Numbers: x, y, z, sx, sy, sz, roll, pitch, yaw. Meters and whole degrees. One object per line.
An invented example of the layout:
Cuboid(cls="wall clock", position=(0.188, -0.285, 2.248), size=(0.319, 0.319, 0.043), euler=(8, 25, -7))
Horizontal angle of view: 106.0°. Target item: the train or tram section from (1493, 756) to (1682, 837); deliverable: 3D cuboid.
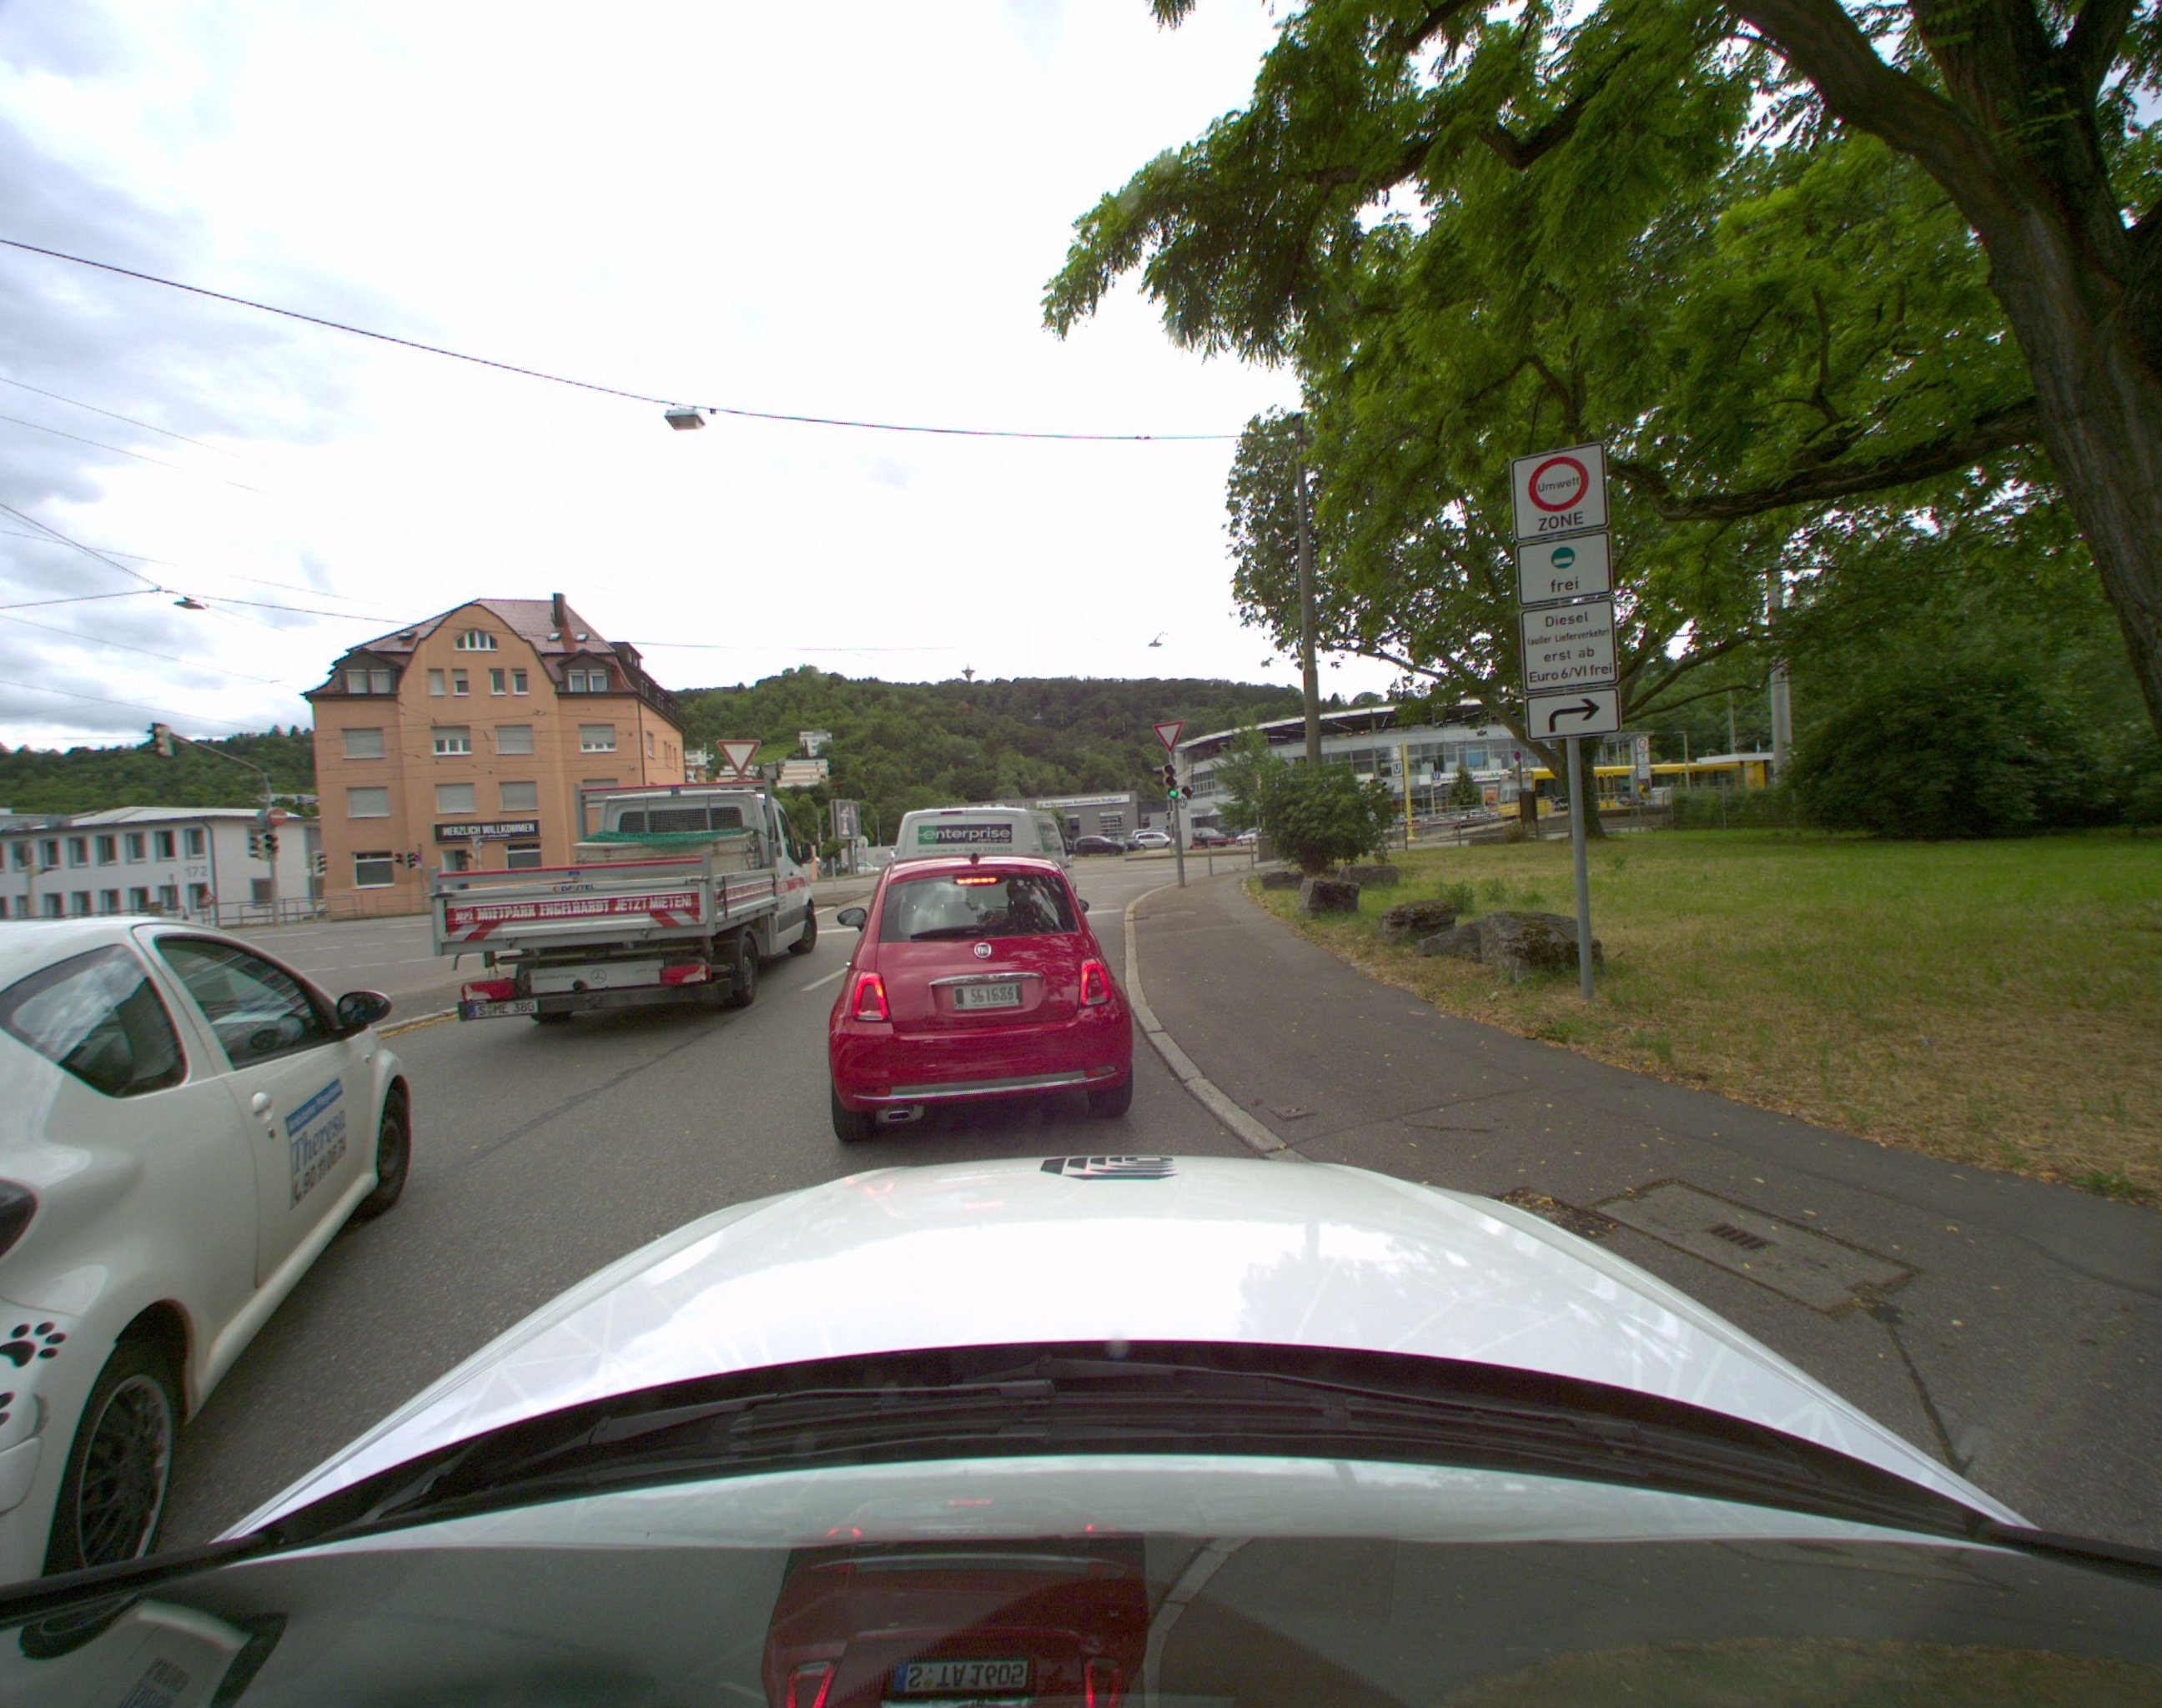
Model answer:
Cuboid(cls="train or tram section", position=(29.943, -3.420, 47.936), size=(11.921, 3.966, 2.730), euler=(-5, 1, -22))

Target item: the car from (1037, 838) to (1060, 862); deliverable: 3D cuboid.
Cuboid(cls="car", position=(-3.094, -0.342, 79.444), size=(1.988, 2.013, 5.014), euler=(-4, -1, -1))

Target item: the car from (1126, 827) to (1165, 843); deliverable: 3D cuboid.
Cuboid(cls="car", position=(7.602, -2.250, 96.389), size=(4.480, 1.729, 2.000), euler=(0, -1, 1))

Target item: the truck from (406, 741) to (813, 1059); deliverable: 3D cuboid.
Cuboid(cls="truck", position=(-4.668, 0.271, 9.372), size=(2.316, 2.421, 5.630), euler=(-4, 2, -13))

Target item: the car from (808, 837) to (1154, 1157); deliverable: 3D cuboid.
Cuboid(cls="car", position=(-0.787, 0.651, 5.998), size=(1.697, 1.525, 3.987), euler=(0, 1, -10))

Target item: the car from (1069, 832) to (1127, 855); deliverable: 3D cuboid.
Cuboid(cls="car", position=(1.286, -0.800, 61.679), size=(3.957, 1.639, 2.009), euler=(-1, 4, 15))

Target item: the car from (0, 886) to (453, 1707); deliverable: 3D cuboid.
Cuboid(cls="car", position=(-3.247, 0.863, 2.489), size=(1.603, 1.420, 3.342), euler=(0, -1, -29))

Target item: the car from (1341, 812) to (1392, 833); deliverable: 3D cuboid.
Cuboid(cls="car", position=(24.712, -2.691, 70.601), size=(1.931, 1.554, 3.967), euler=(-5, 1, -25))

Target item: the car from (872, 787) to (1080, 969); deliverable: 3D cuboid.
Cuboid(cls="car", position=(-1.185, 0.185, 11.565), size=(1.990, 2.040, 4.837), euler=(0, 2, 4))

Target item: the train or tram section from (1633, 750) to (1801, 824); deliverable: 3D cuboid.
Cuboid(cls="train or tram section", position=(40.995, -4.369, 52.386), size=(11.921, 3.966, 2.730), euler=(-5, 1, -22))

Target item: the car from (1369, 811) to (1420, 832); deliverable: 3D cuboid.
Cuboid(cls="car", position=(27.569, -2.813, 71.740), size=(1.931, 1.554, 3.967), euler=(-5, 1, -25))

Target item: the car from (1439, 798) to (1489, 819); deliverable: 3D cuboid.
Cuboid(cls="car", position=(34.839, -4.086, 74.227), size=(1.926, 1.554, 3.977), euler=(-5, 1, -17))

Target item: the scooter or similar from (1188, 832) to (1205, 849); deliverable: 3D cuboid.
Cuboid(cls="scooter or similar", position=(8.872, -1.040, 62.469), size=(1.197, 1.288, 0.575), euler=(0, -1, -3))

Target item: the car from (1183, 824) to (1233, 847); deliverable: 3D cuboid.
Cuboid(cls="car", position=(10.121, -1.447, 65.201), size=(2.004, 1.640, 3.967), euler=(-3, 1, -25))

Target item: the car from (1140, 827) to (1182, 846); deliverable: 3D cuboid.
Cuboid(cls="car", position=(8.937, -1.922, 91.198), size=(4.479, 1.997, 2.000), euler=(0, -1, 1))

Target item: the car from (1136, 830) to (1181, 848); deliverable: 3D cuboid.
Cuboid(cls="car", position=(7.710, -1.511, 81.352), size=(4.477, 1.729, 2.002), euler=(0, -1, 3))

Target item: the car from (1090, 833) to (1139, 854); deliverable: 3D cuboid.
Cuboid(cls="car", position=(2.868, -0.888, 70.184), size=(3.984, 1.706, 1.995), euler=(0, -1, -8))

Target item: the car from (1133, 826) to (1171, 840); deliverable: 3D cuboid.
Cuboid(cls="car", position=(8.780, -2.590, 100.708), size=(4.480, 1.729, 2.000), euler=(0, -1, 1))

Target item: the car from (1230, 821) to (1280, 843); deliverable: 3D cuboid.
Cuboid(cls="car", position=(14.258, -1.760, 66.911), size=(2.003, 1.640, 3.967), euler=(0, -1, -25))
